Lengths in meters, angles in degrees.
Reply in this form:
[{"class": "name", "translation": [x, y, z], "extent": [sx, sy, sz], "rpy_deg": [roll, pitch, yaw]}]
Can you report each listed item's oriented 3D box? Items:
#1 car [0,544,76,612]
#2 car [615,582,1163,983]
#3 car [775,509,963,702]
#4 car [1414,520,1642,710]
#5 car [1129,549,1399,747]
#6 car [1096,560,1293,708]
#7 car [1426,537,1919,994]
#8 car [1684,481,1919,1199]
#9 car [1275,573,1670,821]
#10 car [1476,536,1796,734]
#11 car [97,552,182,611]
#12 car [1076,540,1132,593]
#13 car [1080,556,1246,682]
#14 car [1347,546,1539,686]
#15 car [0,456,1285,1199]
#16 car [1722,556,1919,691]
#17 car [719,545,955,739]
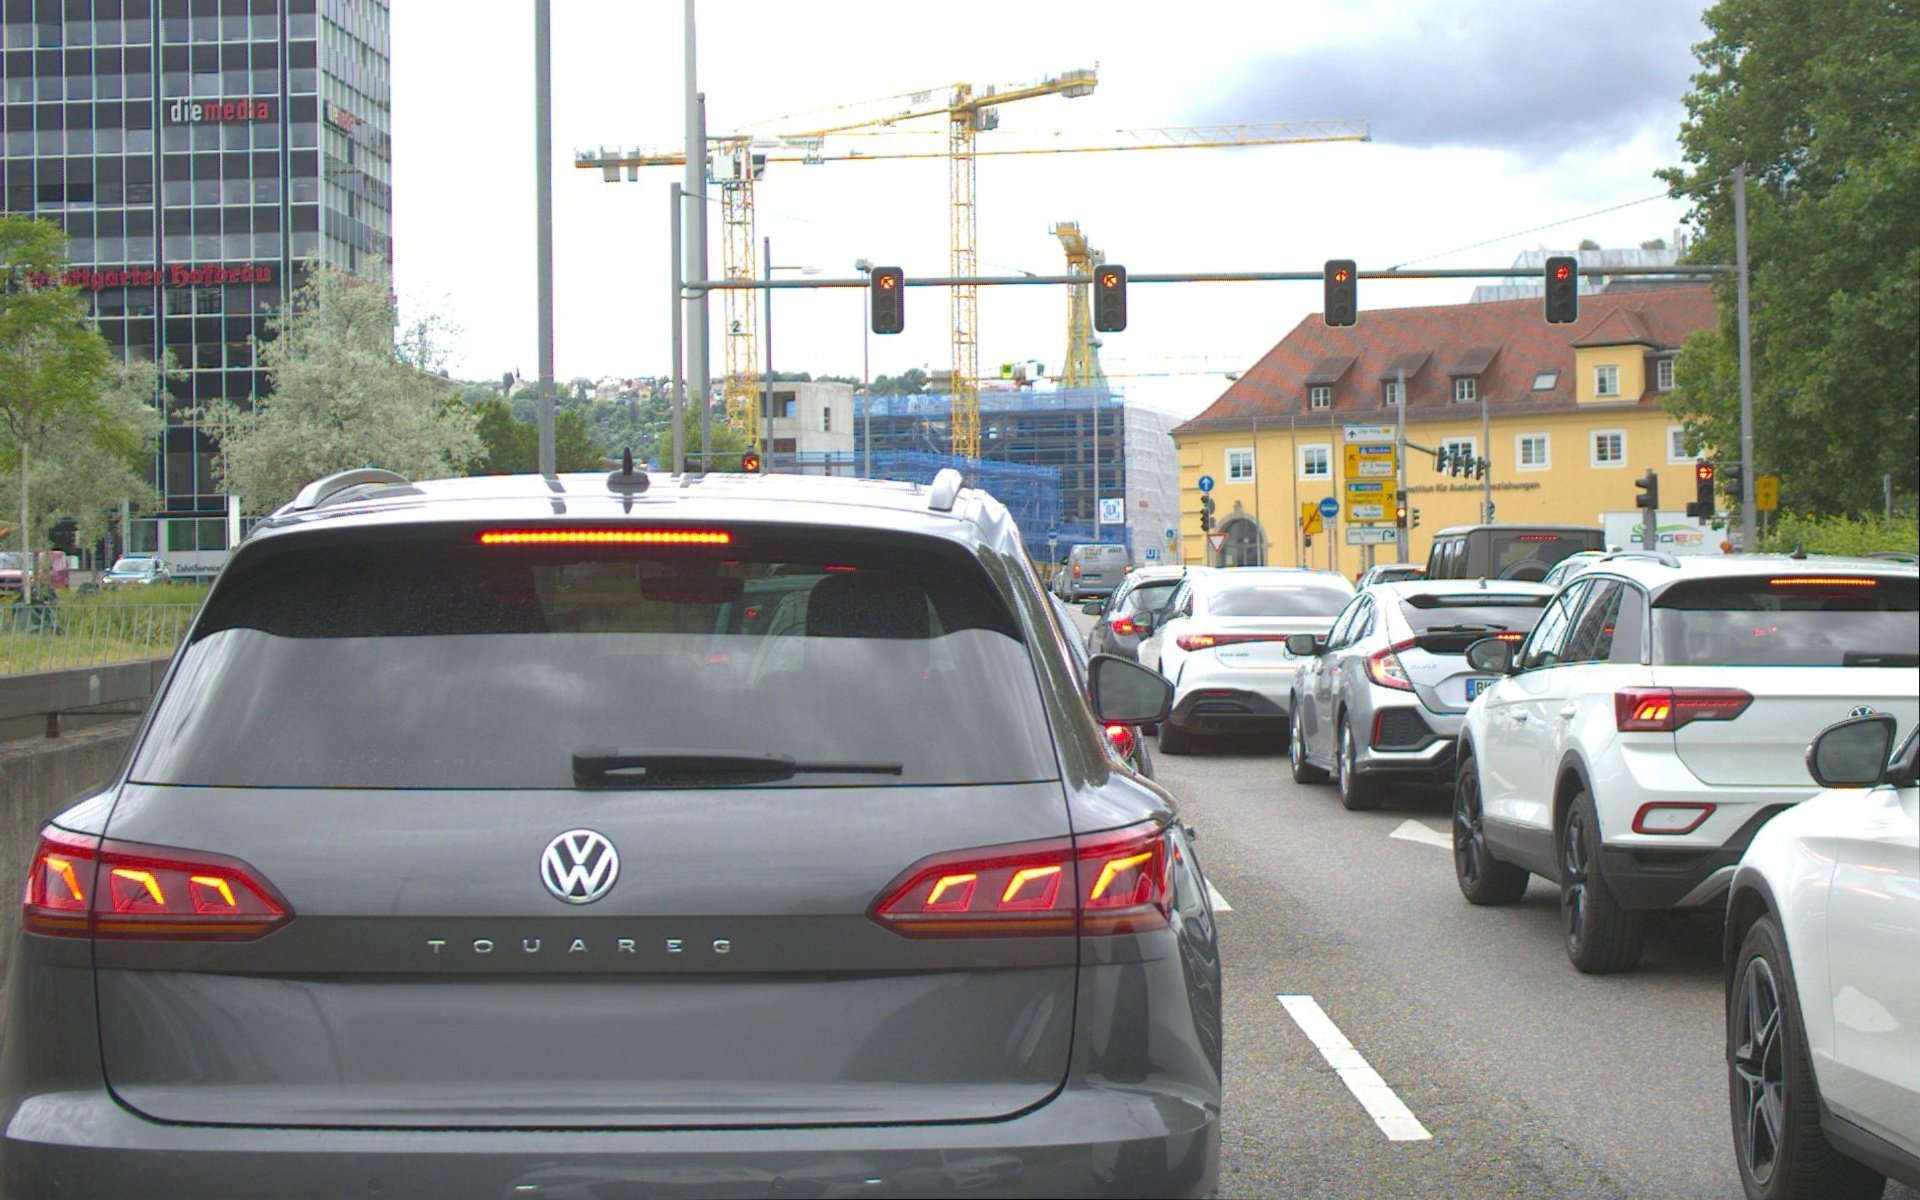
[{"class": "car", "translation": [-29.660, -0.709, 109.256], "extent": [1.993, 2.006, 4.692], "rpy_deg": [0, 2, -1]}, {"class": "car", "translation": [-0.285, 0.650, 14.401], "extent": [1.951, 1.379, 3.931], "rpy_deg": [1, 1, -1]}, {"class": "car", "translation": [-0.997, 0.037, 38.561], "extent": [1.951, 2.011, 3.931], "rpy_deg": [1, 1, -1]}, {"class": "car", "translation": [6.394, 0.158, 39.114], "extent": [1.910, 2.007, 4.012], "rpy_deg": [1, 0, 0]}, {"class": "car", "translation": [2.468, 0.365, 28.926], "extent": [1.926, 1.524, 4.489], "rpy_deg": [0, 0, 1]}, {"class": "car", "translation": [2.513, 0.351, 37.747], "extent": [1.926, 1.524, 4.047], "rpy_deg": [0, 0, 1]}, {"class": "car", "translation": [3.133, 0.561, 13.934], "extent": [1.926, 1.545, 4.489], "rpy_deg": [0, 0, 1]}, {"class": "car", "translation": [2.722, 0.609, 6.199], "extent": [1.926, 1.648, 4.490], "rpy_deg": [0, 1, 1]}, {"class": "car", "translation": [3.177, 0.557, 22.201], "extent": [1.926, 1.427, 4.489], "rpy_deg": [0, 0, 1]}, {"class": "car", "translation": [6.279, 0.267, 32.433], "extent": [1.993, 1.634, 4.305], "rpy_deg": [0, 2, -2]}, {"class": "car", "translation": [-29.790, -0.685, 124.960], "extent": [1.993, 2.006, 4.692], "rpy_deg": [0, 2, -1]}, {"class": "car", "translation": [4.647, -1.073, 111.457], "extent": [1.619, 1.622, 4.000], "rpy_deg": [1, -1, 0]}, {"class": "car", "translation": [2.555, 0.230, 44.034], "extent": [1.926, 1.524, 4.047], "rpy_deg": [0, 0, 1]}, {"class": "car", "translation": [6.229, 0.191, 44.695], "extent": [1.910, 1.691, 4.012], "rpy_deg": [1, 0, 0]}, {"class": "car", "translation": [-0.566, 0.606, 6.663], "extent": [1.951, 1.646, 4.000], "rpy_deg": [0, 1, -1]}, {"class": "car", "translation": [10.214, 0.279, 40.105], "extent": [1.931, 1.455, 4.526], "rpy_deg": [1, 0, 4]}, {"class": "car", "translation": [-1.067, 0.332, 31.029], "extent": [1.951, 1.594, 3.931], "rpy_deg": [1, 1, -1]}]
